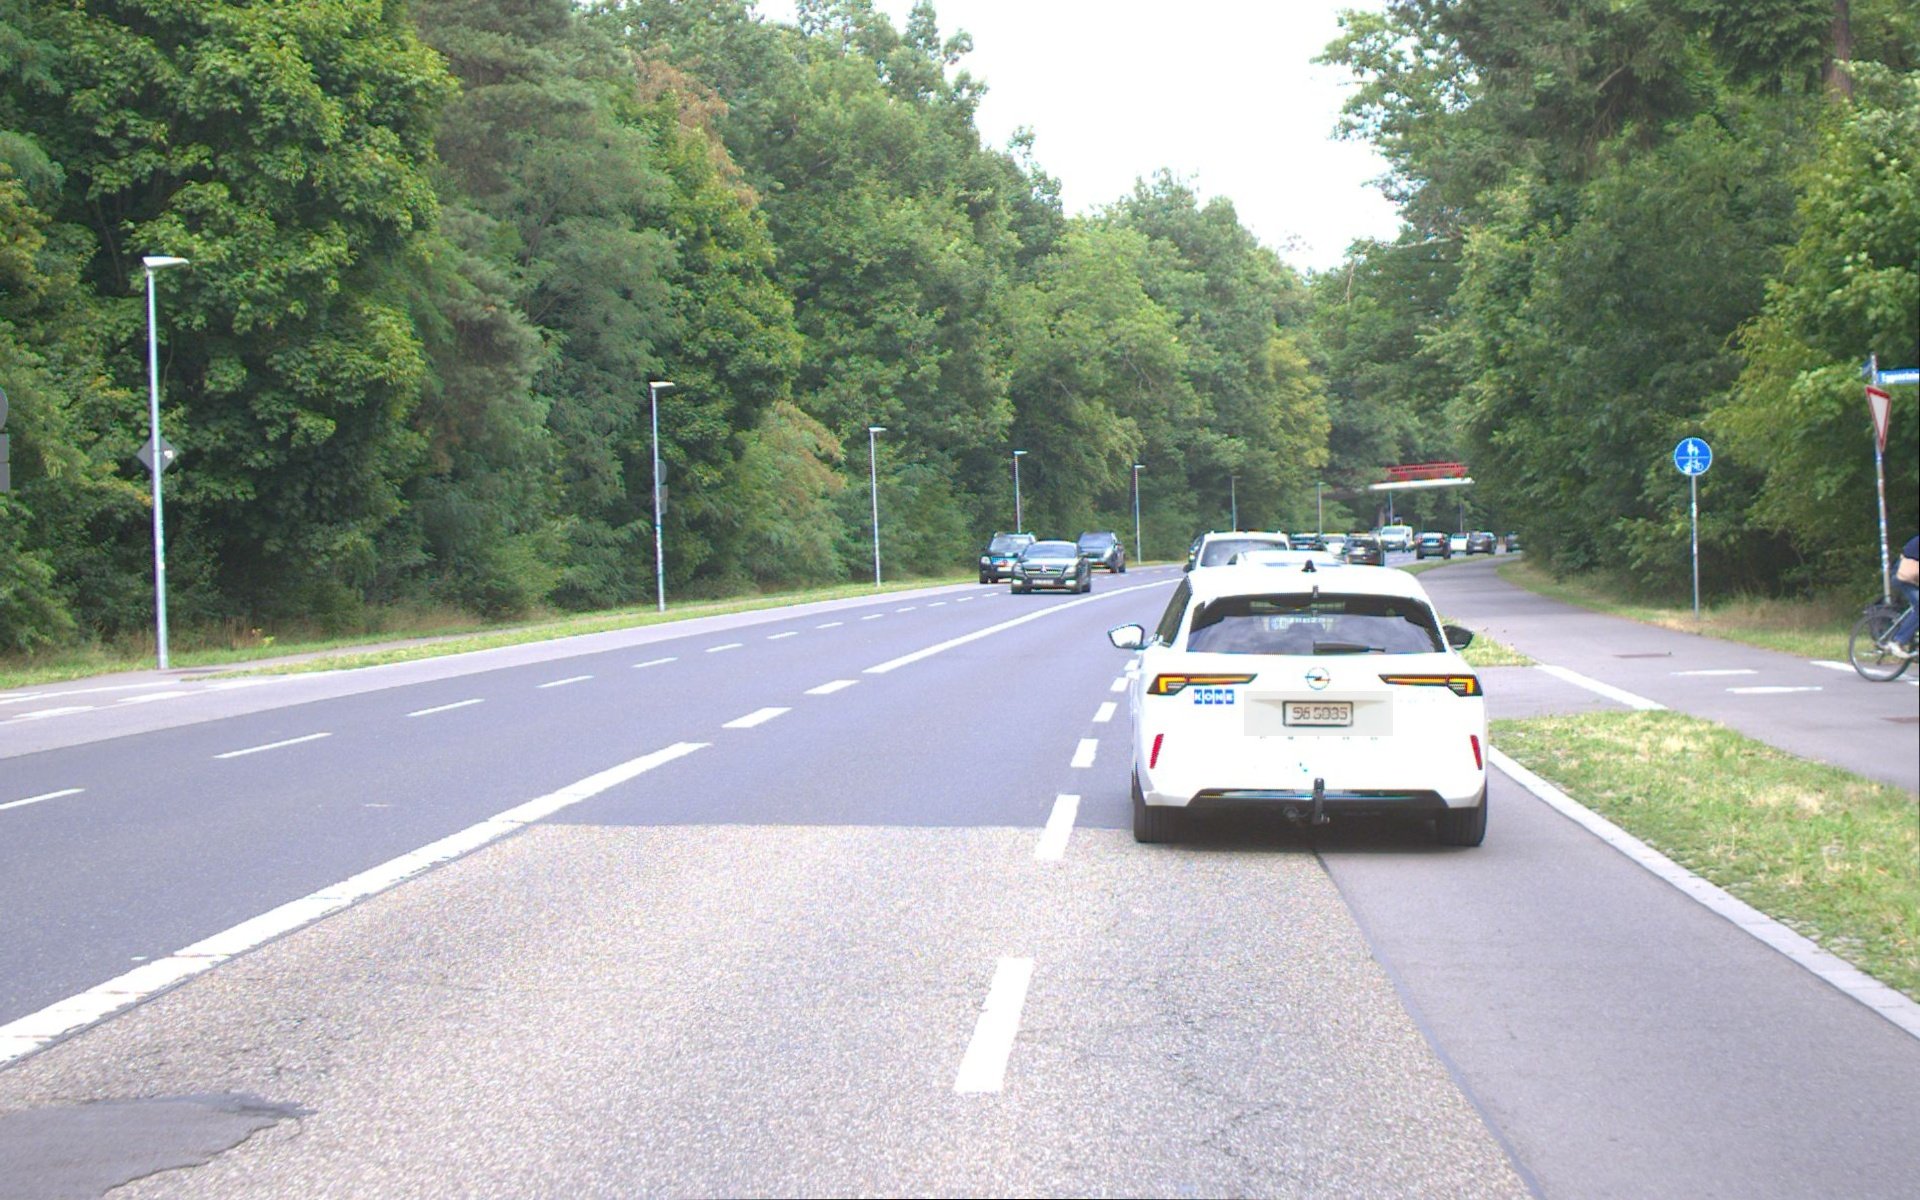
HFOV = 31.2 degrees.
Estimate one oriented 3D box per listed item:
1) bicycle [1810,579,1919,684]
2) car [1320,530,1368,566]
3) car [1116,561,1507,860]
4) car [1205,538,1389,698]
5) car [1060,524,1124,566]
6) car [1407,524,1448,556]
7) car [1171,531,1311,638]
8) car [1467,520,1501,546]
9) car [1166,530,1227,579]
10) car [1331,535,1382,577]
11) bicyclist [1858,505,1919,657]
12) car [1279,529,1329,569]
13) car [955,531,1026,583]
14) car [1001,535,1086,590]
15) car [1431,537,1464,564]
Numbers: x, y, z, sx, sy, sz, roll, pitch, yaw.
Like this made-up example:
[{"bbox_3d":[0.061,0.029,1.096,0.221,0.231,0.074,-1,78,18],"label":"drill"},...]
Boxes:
[{"bbox_3d":[9.364,0.303,33.587,0.709,0.990,2.181,-1,1,-31],"label":"bicycle"},{"bbox_3d":[20.068,-2.689,179.569,1.995,1.777,3.997,2,0,13],"label":"car"},{"bbox_3d":[1.776,0.501,18.488,1.836,1.405,4.490,0,1,3],"label":"car"},{"bbox_3d":[3.229,0.160,33.447,1.635,1.415,3.999,2,0,4],"label":"car"},{"bbox_3d":[5.406,-2.231,140.082,1.994,1.611,4.662,2,0,10],"label":"car"},{"bbox_3d":[27.532,-3.513,202.387,1.994,1.777,3.998,2,0,12],"label":"car"},{"bbox_3d":[4.550,-0.239,55.203,1.994,1.601,3.999,2,0,8],"label":"car"},{"bbox_3d":[35.428,-4.531,232.295,1.994,1.700,3.998,0,1,12],"label":"car"},{"bbox_3d":[8.049,-1.524,116.781,1.730,1.582,3.998,2,0,9],"label":"car"},{"bbox_3d":[17.809,-1.946,154.229,1.994,1.777,3.998,2,0,10],"label":"car"},{"bbox_3d":[9.355,-0.192,33.569,0.709,1.465,0.901,-1,1,-31],"label":"bicyclist"},{"bbox_3d":[16.280,-2.408,162.455,1.994,1.777,3.998,2,0,10],"label":"car"},{"bbox_3d":[1.018,-1.381,112.309,1.923,1.649,4.468,1,0,5],"label":"car"},{"bbox_3d":[2.300,-0.994,93.420,1.994,1.430,4.720,1,0,5],"label":"car"},{"bbox_3d":[35.163,-3.572,247.849,1.889,1.809,3.997,2,0,14],"label":"car"}]
